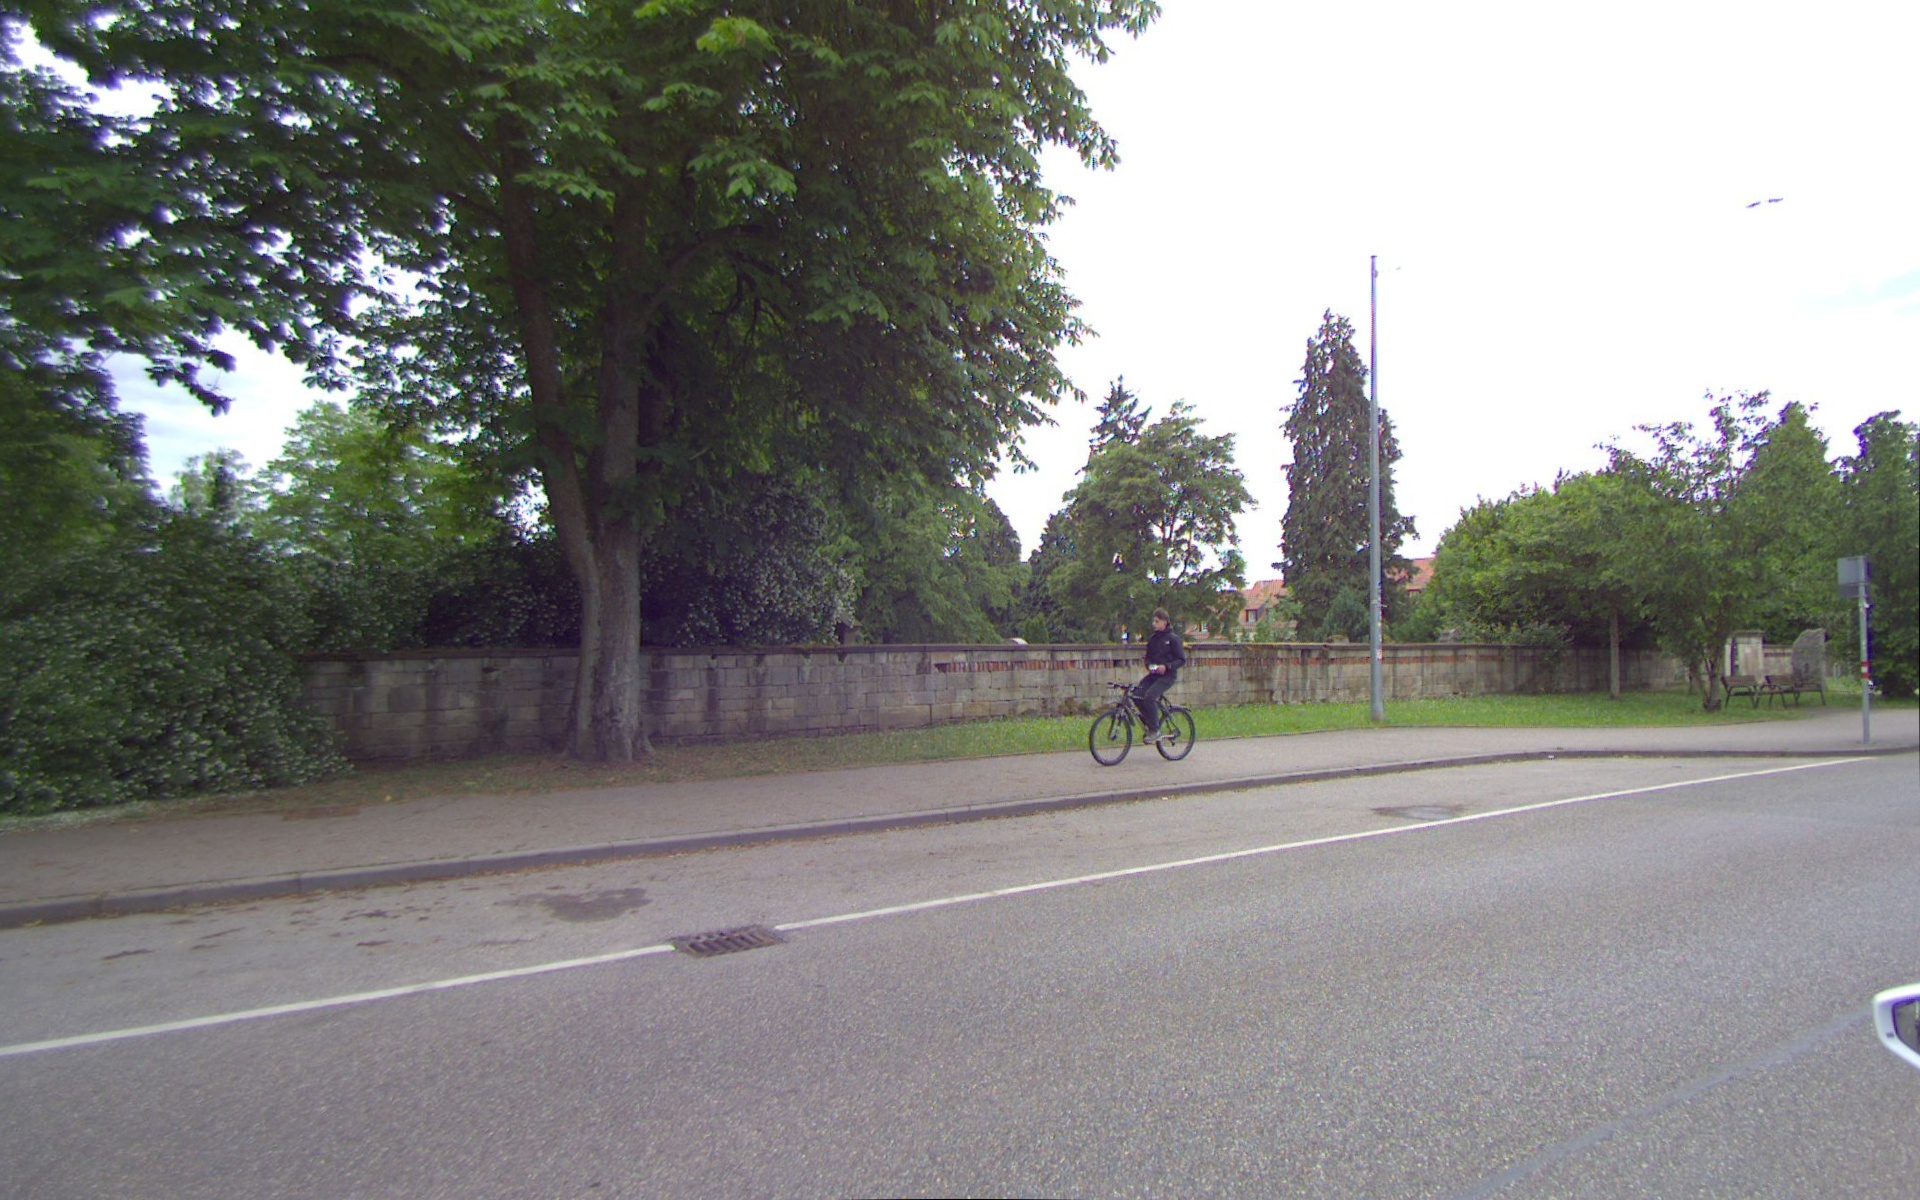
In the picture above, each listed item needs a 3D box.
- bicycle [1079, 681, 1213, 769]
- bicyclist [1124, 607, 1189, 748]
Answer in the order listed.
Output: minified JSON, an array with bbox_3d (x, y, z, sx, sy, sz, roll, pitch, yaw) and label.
[{"bbox_3d":[2.335,1.525,12.513,1.728,0.977,0.493,2,0,-30],"label":"bicycle"},{"bbox_3d":[2.464,0.951,12.578,0.581,1.706,0.485,2,0,-30],"label":"bicyclist"}]
